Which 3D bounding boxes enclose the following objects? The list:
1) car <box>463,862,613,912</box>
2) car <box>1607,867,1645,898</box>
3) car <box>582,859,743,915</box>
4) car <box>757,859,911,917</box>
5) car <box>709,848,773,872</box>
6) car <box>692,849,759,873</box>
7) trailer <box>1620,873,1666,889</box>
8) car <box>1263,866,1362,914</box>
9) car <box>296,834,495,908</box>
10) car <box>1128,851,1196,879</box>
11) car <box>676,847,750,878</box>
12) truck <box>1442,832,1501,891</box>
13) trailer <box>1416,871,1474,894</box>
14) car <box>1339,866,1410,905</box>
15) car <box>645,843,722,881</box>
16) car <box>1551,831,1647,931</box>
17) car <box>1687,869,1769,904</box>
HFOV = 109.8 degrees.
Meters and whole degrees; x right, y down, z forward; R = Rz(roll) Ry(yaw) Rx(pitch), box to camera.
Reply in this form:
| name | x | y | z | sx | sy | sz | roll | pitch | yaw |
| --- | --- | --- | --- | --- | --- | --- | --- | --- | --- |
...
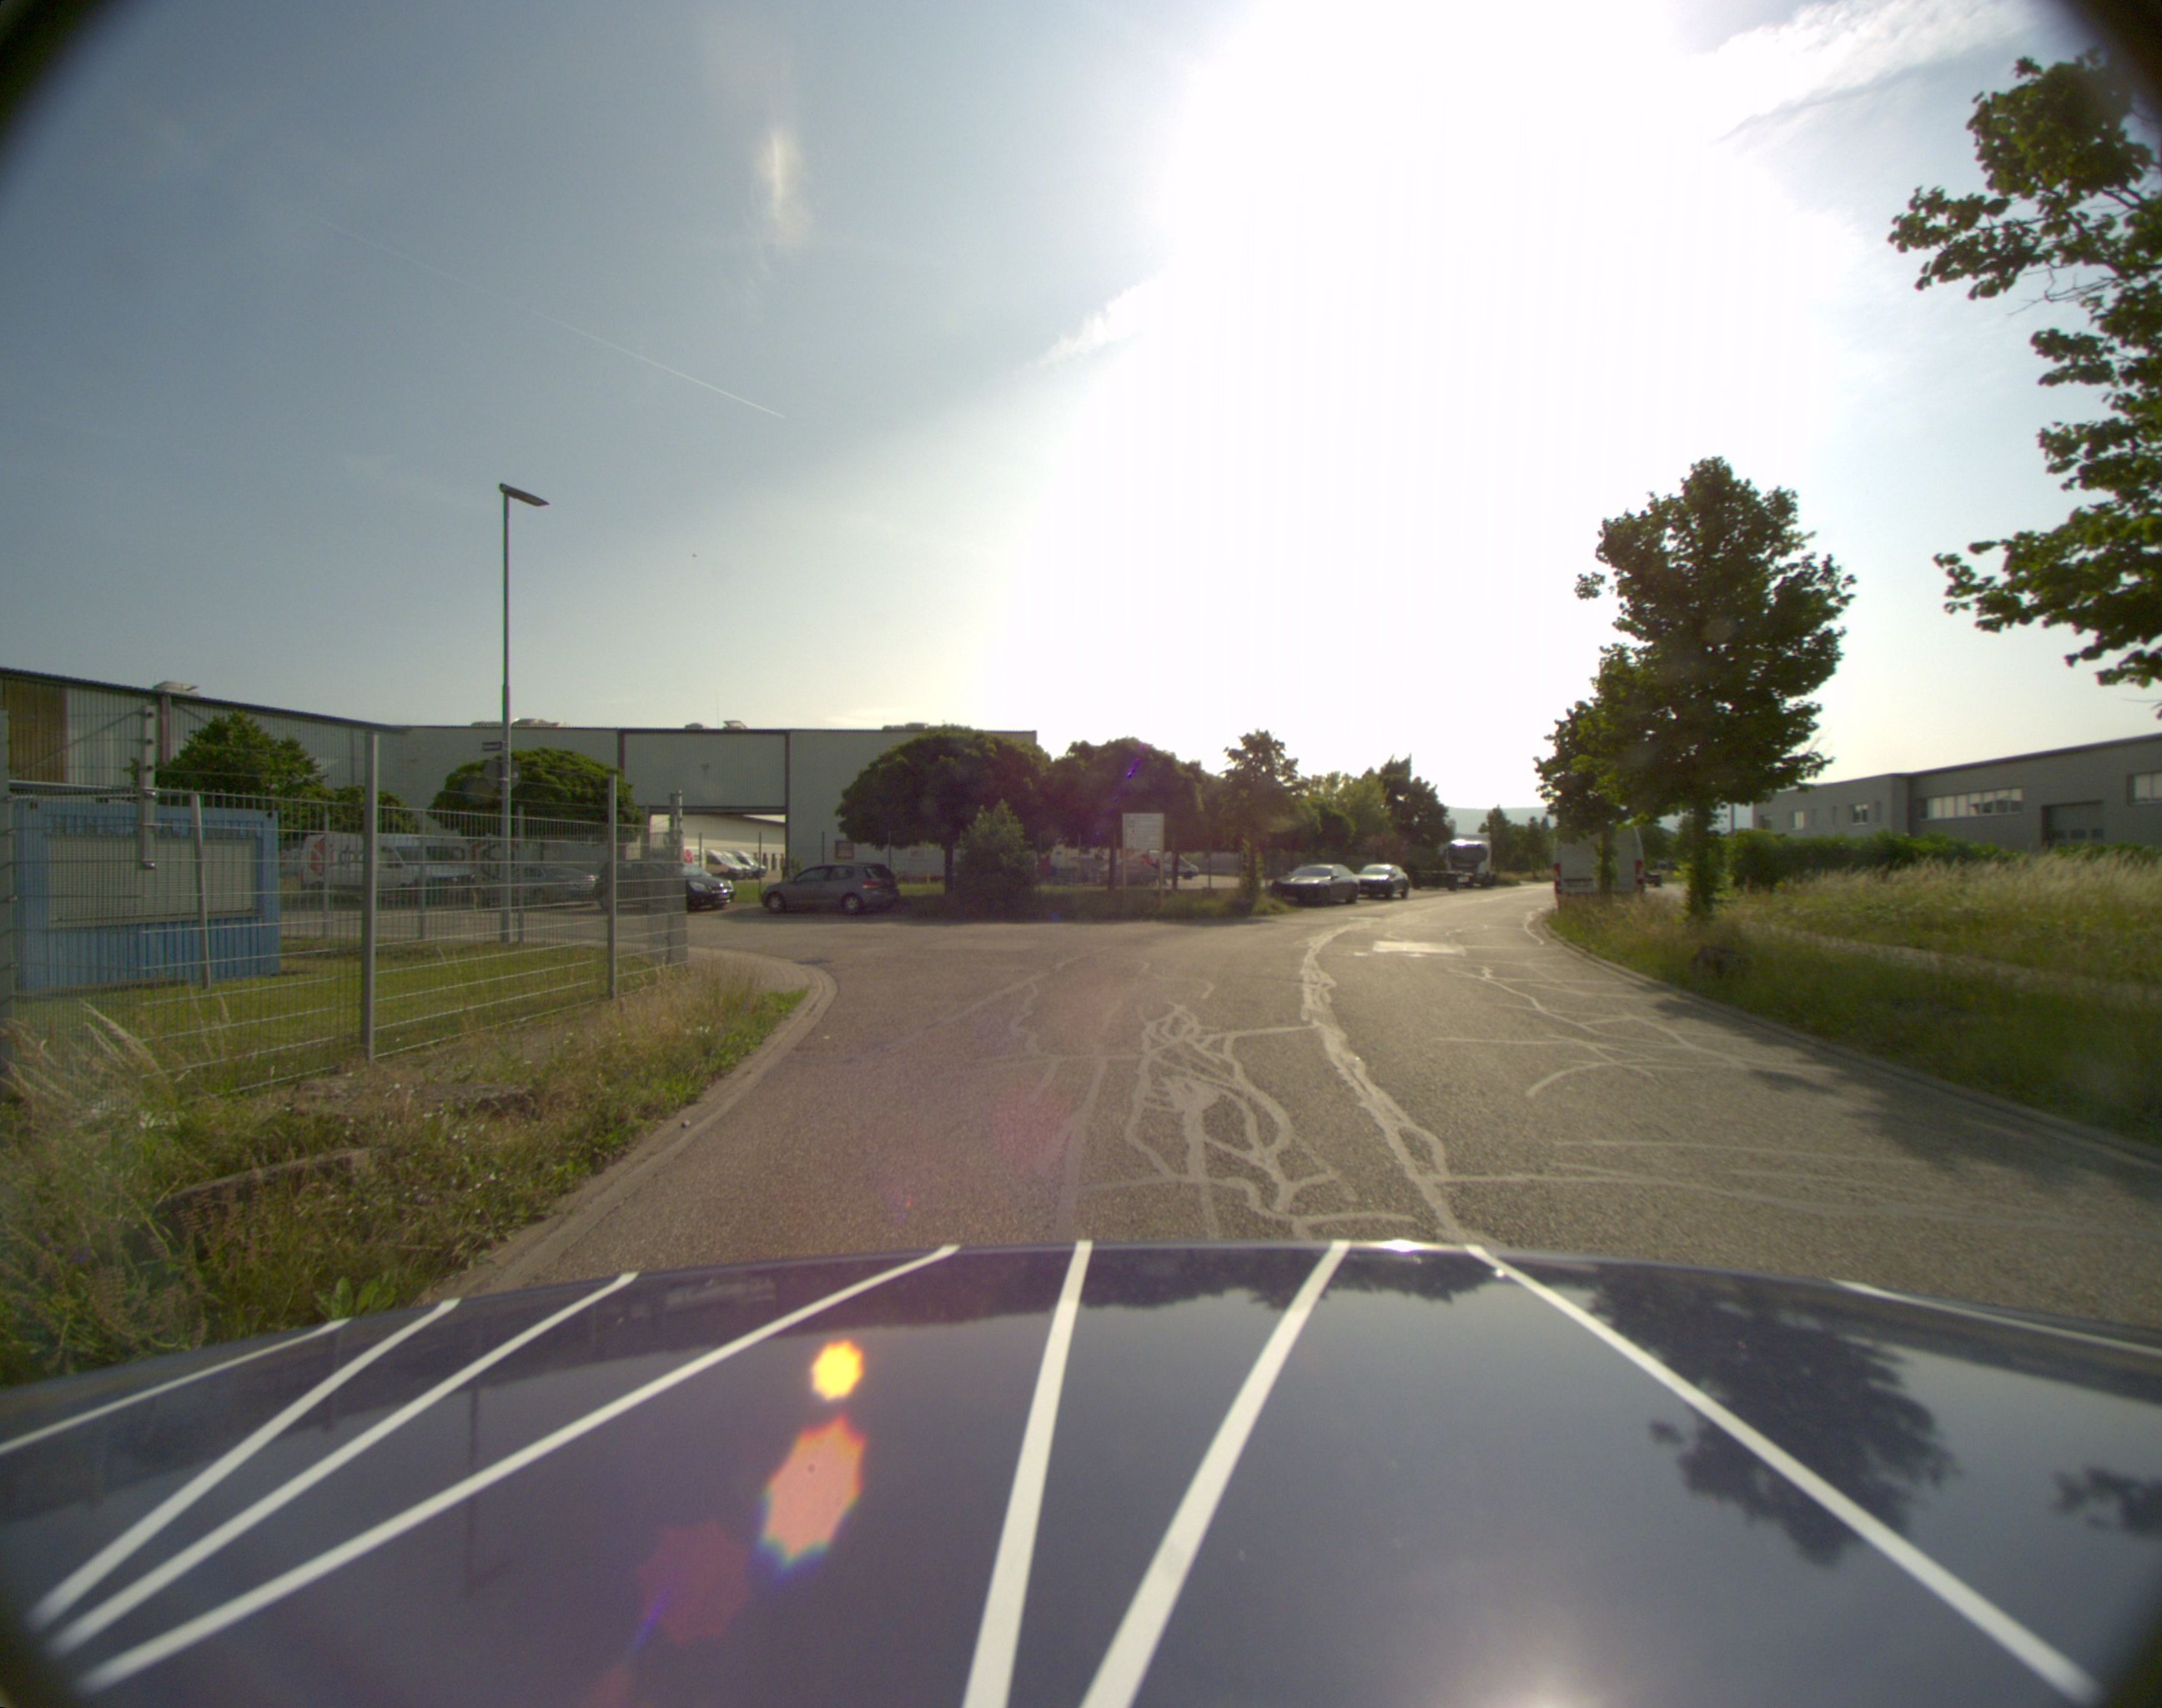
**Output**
| name | x | y | z | sx | sy | sz | roll | pitch | yaw |
| --- | --- | --- | --- | --- | --- | --- | --- | --- | --- |
| car | -18.215 | 1.064 | 25.514 | 4.482 | 1.509 | 1.730 | 0 | 2 | 18 |
| car | 30.539 | 1.579 | 42.562 | 1.598 | 1.641 | 3.652 | -1 | -2 | 38 |
| car | -12.949 | 0.969 | 23.566 | 4.260 | 1.616 | 1.880 | 0 | 0 | 16 |
| car | -7.188 | 0.963 | 22.234 | 3.953 | 1.515 | 1.729 | 0 | 2 | 16 |
| car | -30.890 | 0.510 | 69.110 | 4.845 | 2.072 | 1.931 | 1 | 0 | -1 |
| car | -30.896 | 0.595 | 66.154 | 4.845 | 1.953 | 1.931 | 1 | 0 | -1 |
| trailer | 42.574 | 1.986 | 57.433 | 2.547 | 1.067 | 9.754 | -2 | -2 | 38 |
| car | 9.029 | 1.319 | 29.321 | 1.881 | 1.565 | 5.129 | 2 | 1 | 38 |
| car | -25.089 | 0.565 | 27.811 | 6.833 | 2.469 | 2.210 | 0 | 2 | 18 |
| car | 7.887 | 1.070 | 74.074 | 6.271 | 2.633 | 2.212 | 0 | 0 | -4 |
| car | -28.974 | 0.663 | 59.907 | 4.845 | 2.275 | 1.931 | 1 | 0 | -1 |
| truck | 28.107 | 0.522 | 54.544 | 2.692 | 3.941 | 6.061 | 3 | 1 | 36 |
| trailer | 23.362 | 1.785 | 48.556 | 1.939 | 1.228 | 7.468 | 2 | 0 | 37 |
| car | 13.534 | 1.391 | 34.923 | 1.881 | 1.565 | 4.122 | 3 | 2 | 38 |
| car | -27.992 | 0.534 | 53.845 | 2.173 | 2.503 | 6.699 | 0 | 0 | -3 |
| car | 15.623 | 0.748 | 22.912 | 2.103 | 2.579 | 6.518 | 0 | -1 | 35 |
| car | 31.348 | 1.548 | 36.961 | 1.835 | 1.562 | 3.823 | -2 | -2 | 21 |
